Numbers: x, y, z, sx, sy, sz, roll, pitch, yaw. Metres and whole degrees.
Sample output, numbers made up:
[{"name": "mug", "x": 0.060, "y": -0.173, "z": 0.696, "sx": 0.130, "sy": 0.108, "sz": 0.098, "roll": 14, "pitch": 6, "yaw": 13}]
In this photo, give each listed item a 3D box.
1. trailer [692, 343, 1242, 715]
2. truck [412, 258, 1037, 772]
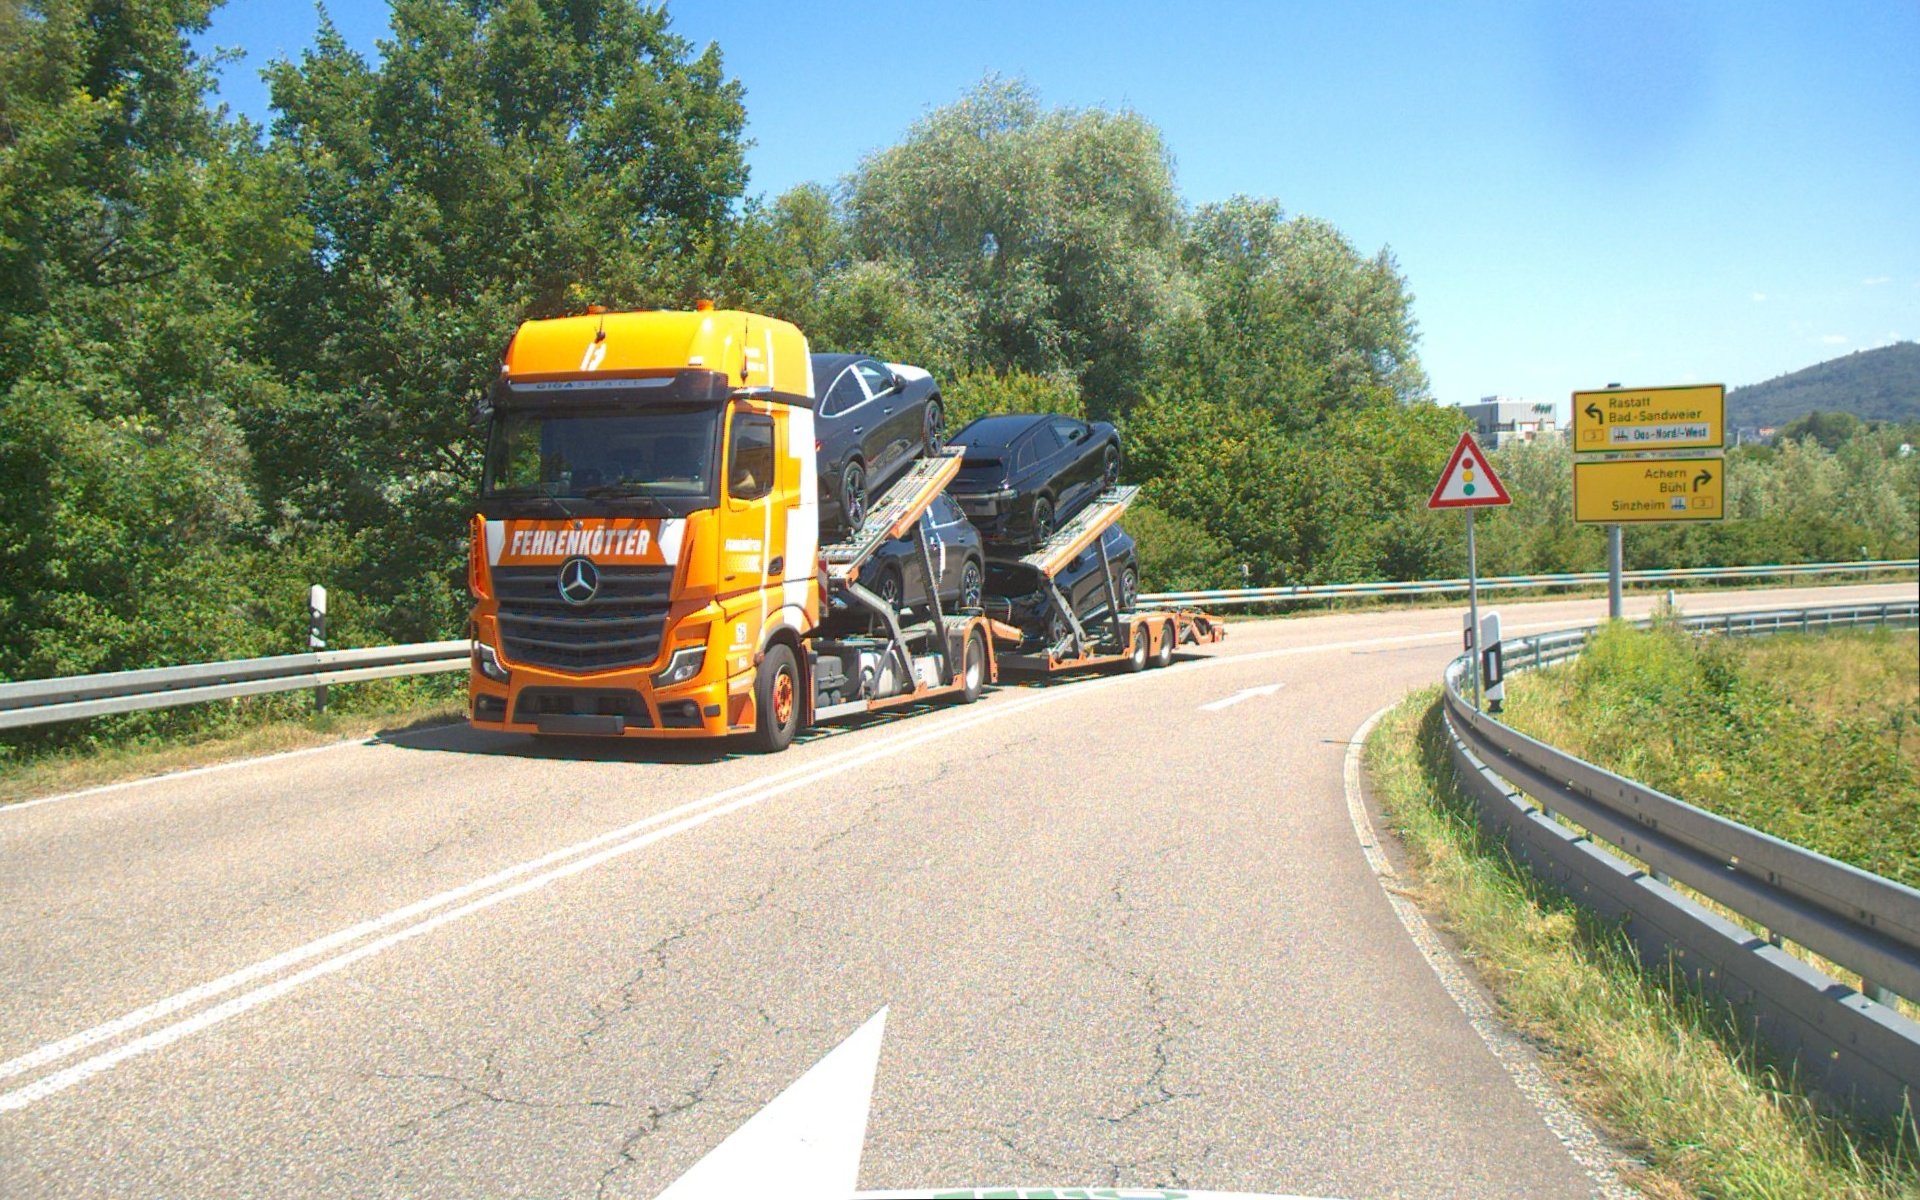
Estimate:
[{"name": "trailer", "x": 1.062, "y": -0.881, "z": 24.591, "sx": 2.737, "sy": 3.966, "sz": 13.980, "roll": 0, "pitch": 1, "yaw": 24}, {"name": "truck", "x": -1.774, "y": -0.741, "z": 17.357, "sx": 2.732, "sy": 3.966, "sz": 8.783, "roll": 0, "pitch": 1, "yaw": 20}]
